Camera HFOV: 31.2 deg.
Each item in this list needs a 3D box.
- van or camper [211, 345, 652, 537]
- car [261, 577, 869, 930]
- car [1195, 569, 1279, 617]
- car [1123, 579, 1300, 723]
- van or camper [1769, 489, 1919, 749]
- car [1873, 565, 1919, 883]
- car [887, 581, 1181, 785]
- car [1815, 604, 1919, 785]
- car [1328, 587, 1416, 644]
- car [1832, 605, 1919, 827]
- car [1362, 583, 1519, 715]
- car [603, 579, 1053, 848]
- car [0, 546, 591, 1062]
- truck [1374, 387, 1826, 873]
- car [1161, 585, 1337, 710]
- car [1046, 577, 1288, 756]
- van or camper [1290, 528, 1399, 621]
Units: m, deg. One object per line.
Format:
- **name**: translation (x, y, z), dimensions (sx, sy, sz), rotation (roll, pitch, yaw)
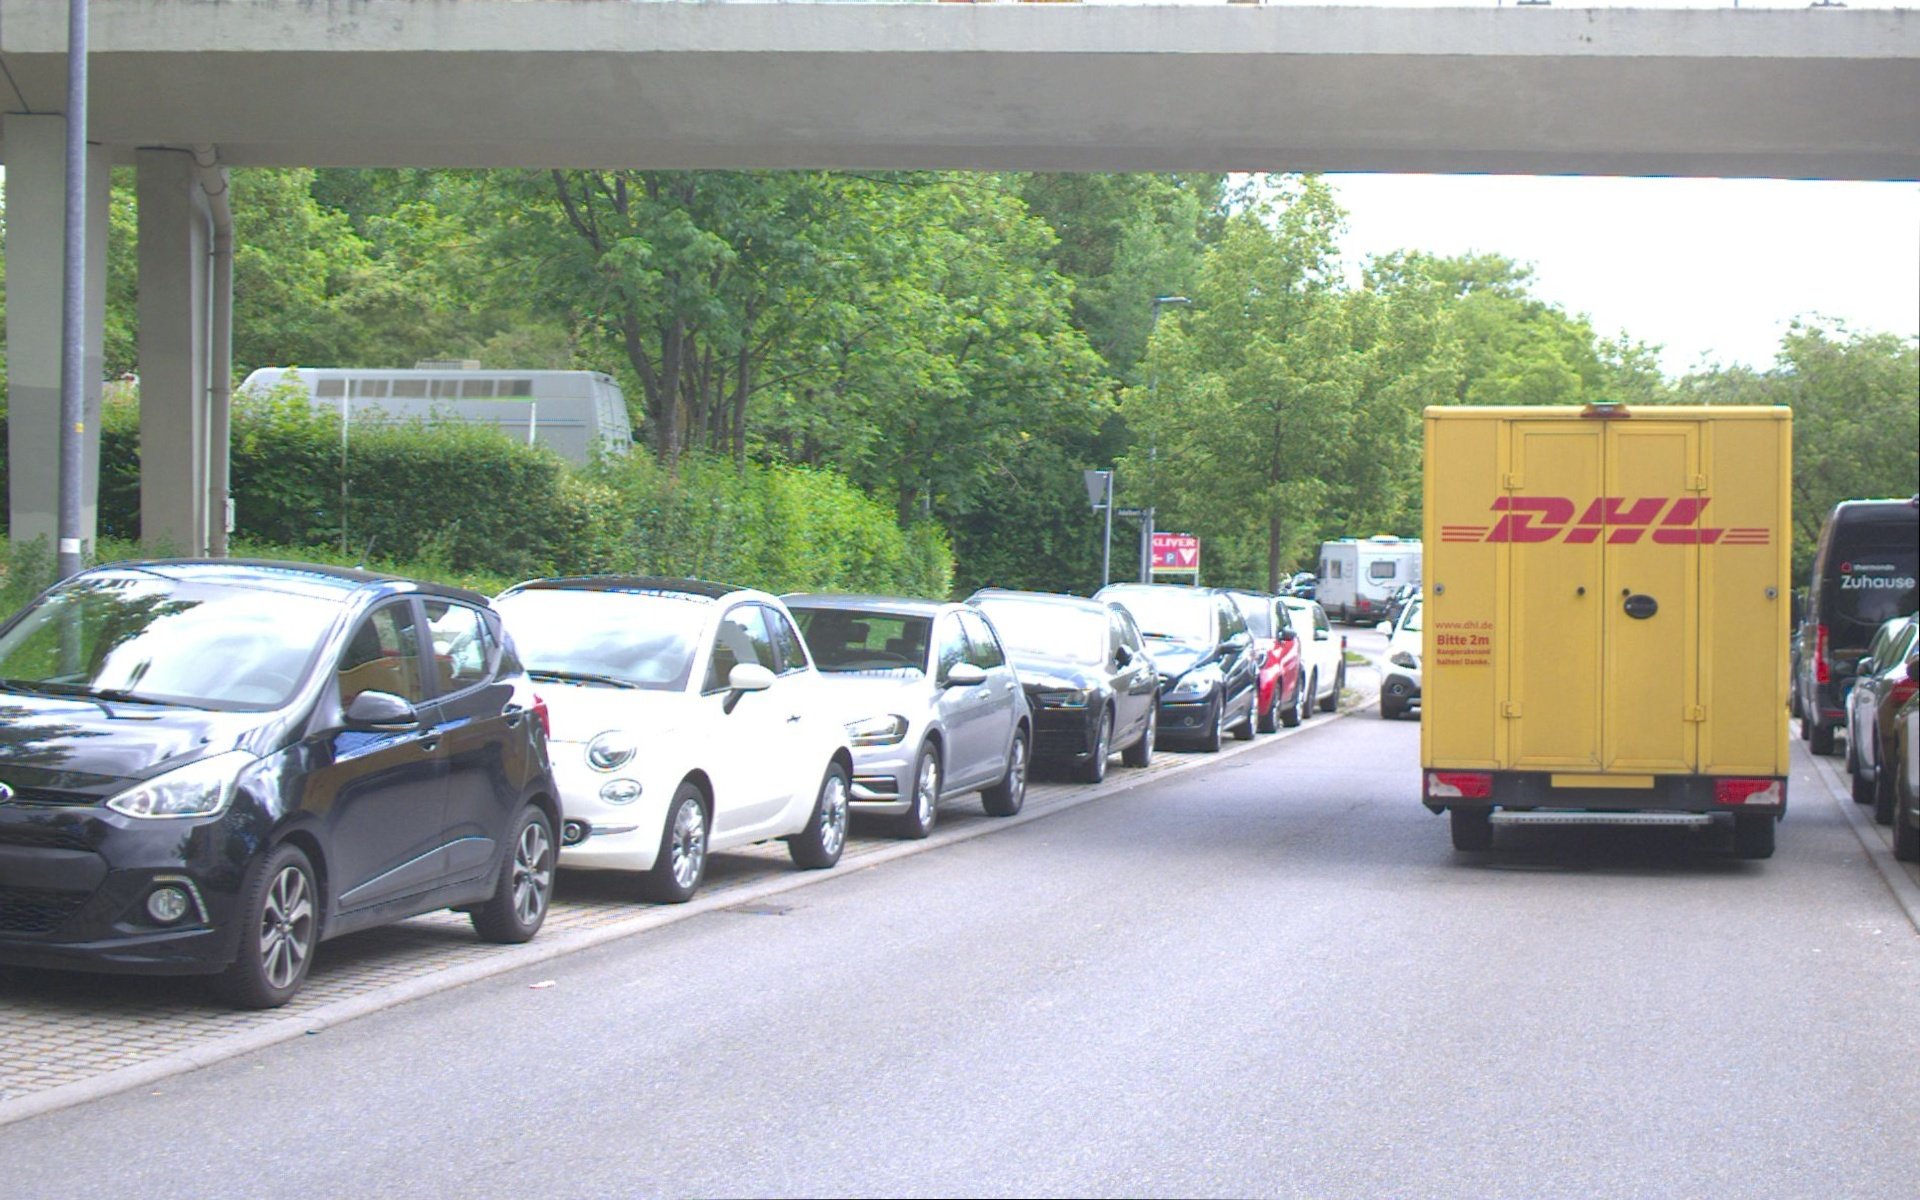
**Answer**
- **van or camper**: translation (-6.371, -1.914, 41.719), dimensions (4.855, 2.078, 2.000), rotation (3, 2, 7)
- **car**: translation (-1.841, 0.669, 17.191), dimensions (1.886, 1.455, 3.544), rotation (3, 1, 13)
- **car**: translation (10.062, -0.272, 125.113), dimensions (1.843, 1.524, 4.002), rotation (2, 2, -13)
- **car**: translation (2.885, 0.559, 39.058), dimensions (1.529, 1.501, 2.711), rotation (3, 0, 13)
- **van or camper**: translation (9.574, 0.208, 36.019), dimensions (1.994, 2.514, 5.468), rotation (0, -1, 12)
- **car**: translation (6.085, 0.678, 18.666), dimensions (1.814, 1.672, 4.368), rotation (1, -1, 10)
- **car**: translation (0.717, 0.640, 29.128), dimensions (1.885, 1.504, 4.451), rotation (3, 0, 8)
- **car**: translation (8.498, 0.798, 30.418), dimensions (1.563, 1.491, 3.329), rotation (1, 0, 10)
- **car**: translation (12.643, 0.458, 105.746), dimensions (1.843, 1.524, 4.001), rotation (2, 2, -5)
- **car**: translation (7.378, 0.805, 25.156), dimensions (1.700, 1.491, 4.116), rotation (1, 0, 12)
- **car**: translation (6.316, 0.602, 44.869), dimensions (1.748, 1.605, 4.050), rotation (1, 0, 12)
- **car**: translation (-0.738, 0.647, 22.179), dimensions (1.886, 1.422, 3.998), rotation (3, 2, 13)
- **car**: translation (-2.826, 0.605, 12.857), dimensions (1.787, 1.463, 3.999), rotation (4, 2, 9)
- **truck**: translation (4.232, 0.150, 22.635), dimensions (2.467, 2.693, 6.821), rotation (1, 0, 11)
- **car**: translation (3.713, 0.577, 43.628), dimensions (1.675, 1.431, 3.967), rotation (3, 0, 12)
- **car**: translation (2.159, 0.634, 34.796), dimensions (1.885, 1.553, 3.836), rotation (5, 1, 10)
- **van or camper**: translation (12.591, -0.883, 112.933), dimensions (2.323, 2.862, 5.262), rotation (2, 1, -7)
